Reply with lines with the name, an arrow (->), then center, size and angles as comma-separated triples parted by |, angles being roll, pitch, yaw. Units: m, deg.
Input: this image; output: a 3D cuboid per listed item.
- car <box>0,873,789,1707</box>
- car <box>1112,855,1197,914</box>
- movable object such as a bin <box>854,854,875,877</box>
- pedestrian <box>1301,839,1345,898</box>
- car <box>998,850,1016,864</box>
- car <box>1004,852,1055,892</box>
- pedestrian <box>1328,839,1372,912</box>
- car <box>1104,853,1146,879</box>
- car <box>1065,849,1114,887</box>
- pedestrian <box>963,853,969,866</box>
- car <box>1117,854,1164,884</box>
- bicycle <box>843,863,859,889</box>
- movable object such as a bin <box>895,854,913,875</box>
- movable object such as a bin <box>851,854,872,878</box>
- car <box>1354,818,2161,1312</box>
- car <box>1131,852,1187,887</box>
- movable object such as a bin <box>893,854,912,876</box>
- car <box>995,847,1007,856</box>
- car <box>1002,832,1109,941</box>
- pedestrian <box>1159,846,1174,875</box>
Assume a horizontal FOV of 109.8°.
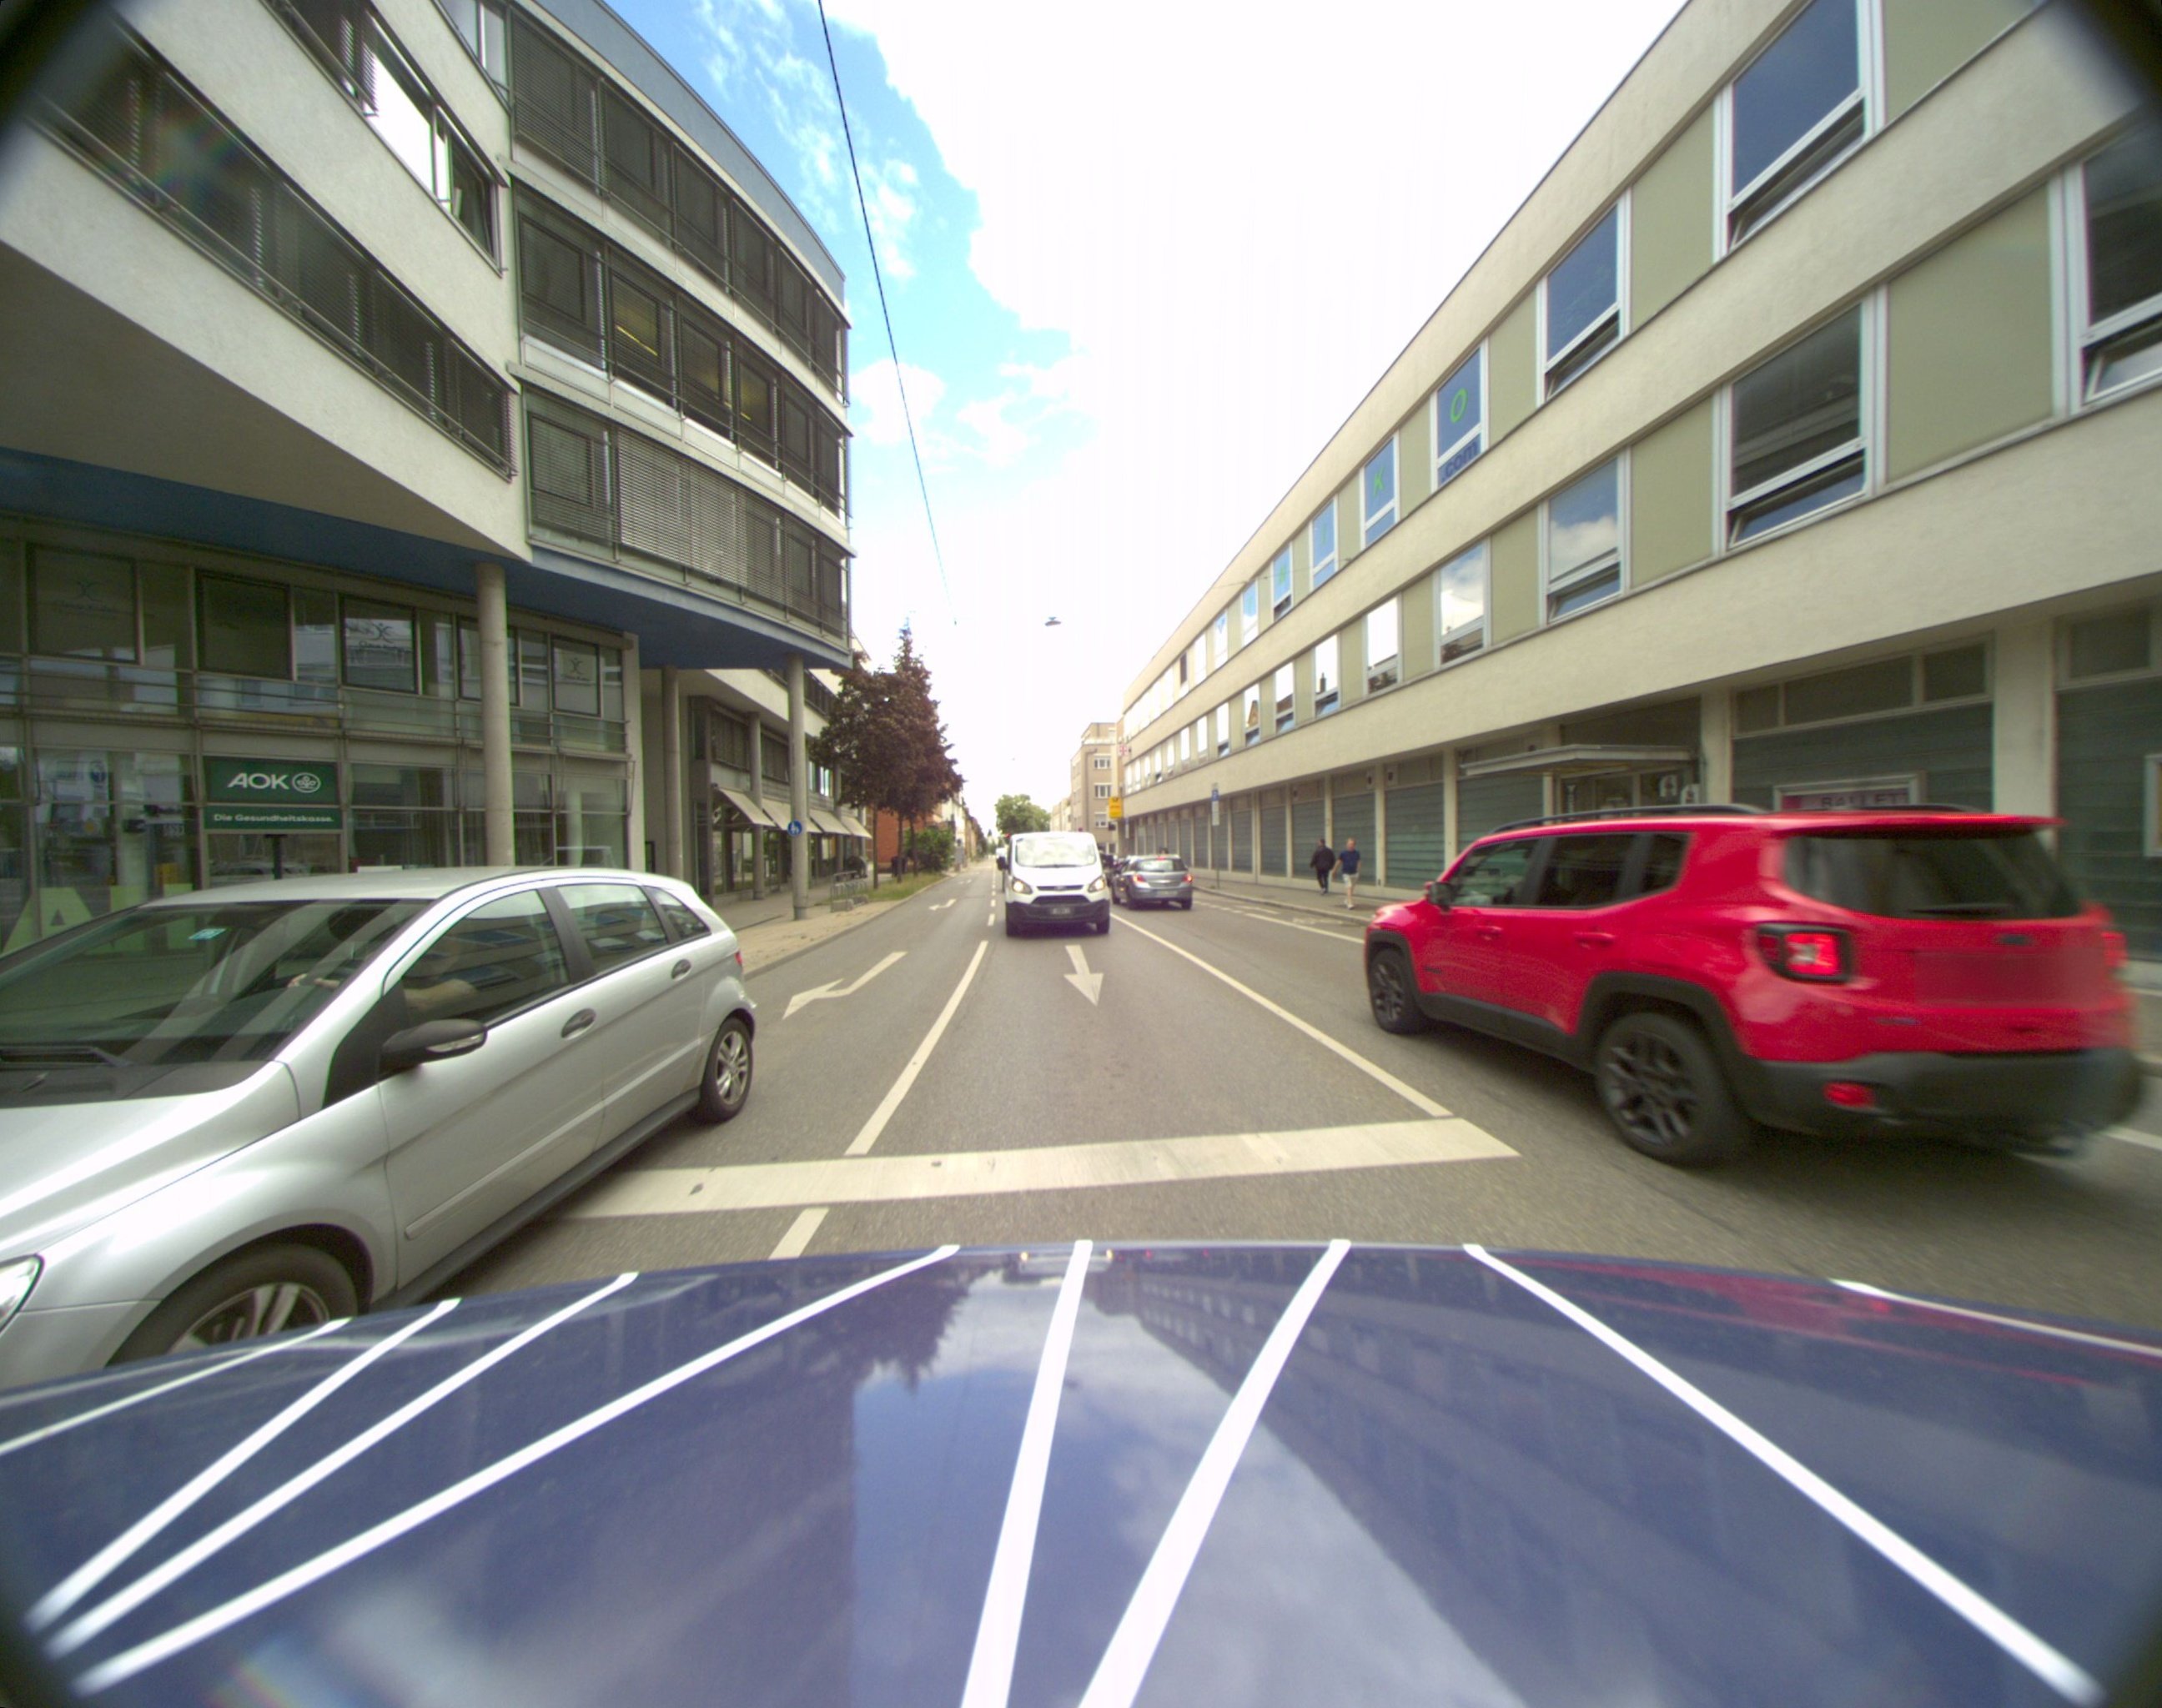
car -> -3.136, 0.994, 3.124 | 1.998, 1.537, 4.570 | -3, 1, 0
car -> 1.966, 0.778, 21.432 | 1.662, 1.458, 3.918 | 0, 0, -5
movable object such as a bin -> -14.268, 0.752, 50.103 | 1.125, 1.457, 1.332 | 0, 1, -8
pedestrian -> 7.297, 0.434, 22.929 | 0.864, 1.708, 1.031 | -3, 1, -8
car -> -8.475, 0.308, 87.303 | 1.965, 1.517, 4.569 | -1, 0, -5
car -> -2.186, 0.679, 31.966 | 1.965, 1.517, 4.569 | -1, 0, -5
pedestrian -> 6.535, 0.510, 18.500 | 0.591, 1.708, 1.054 | -1, 1, -8
car -> 2.504, 0.668, 44.140 | 1.722, 1.417, 3.867 | 0, 0, -8
car -> 0.326, 0.610, 35.157 | 1.781, 1.622, 4.765 | 0, 0, -5
pedestrian -> -14.677, 0.715, 97.254 | 0.690, 1.721, 0.649 | -1, 1, -8
car -> 2.959, 0.703, 38.755 | 1.820, 1.417, 4.262 | 0, 0, -3
bicycle -> -10.607, 0.995, 35.039 | 0.362, 1.080, 2.026 | -2, 1, -8
movable object such as a bin -> -12.393, 0.725, 53.280 | 1.101, 1.457, 1.332 | 0, 1, -8
movable object such as a bin -> -14.081, 0.768, 48.756 | 1.101, 1.457, 1.332 | 0, 1, -8
car -> 3.402, 0.707, 4.612 | 1.805, 1.685, 3.895 | 0, 0, -5
car -> 3.316, 0.623, 33.056 | 1.675, 1.425, 4.550 | 0, 0, -4
movable object such as a bin -> -12.189, 0.744, 51.924 | 1.131, 1.457, 1.411 | 0, 1, -8
car -> -14.437, -0.458, 136.950 | 1.966, 1.517, 4.568 | -1, 0, -8
car -> -0.688, 0.591, 16.736 | 1.965, 1.986, 5.084 | -1, 1, -5
pedestrian -> 5.104, 0.369, 45.276 | 0.592, 1.708, 0.648 | -2, 1, -39
